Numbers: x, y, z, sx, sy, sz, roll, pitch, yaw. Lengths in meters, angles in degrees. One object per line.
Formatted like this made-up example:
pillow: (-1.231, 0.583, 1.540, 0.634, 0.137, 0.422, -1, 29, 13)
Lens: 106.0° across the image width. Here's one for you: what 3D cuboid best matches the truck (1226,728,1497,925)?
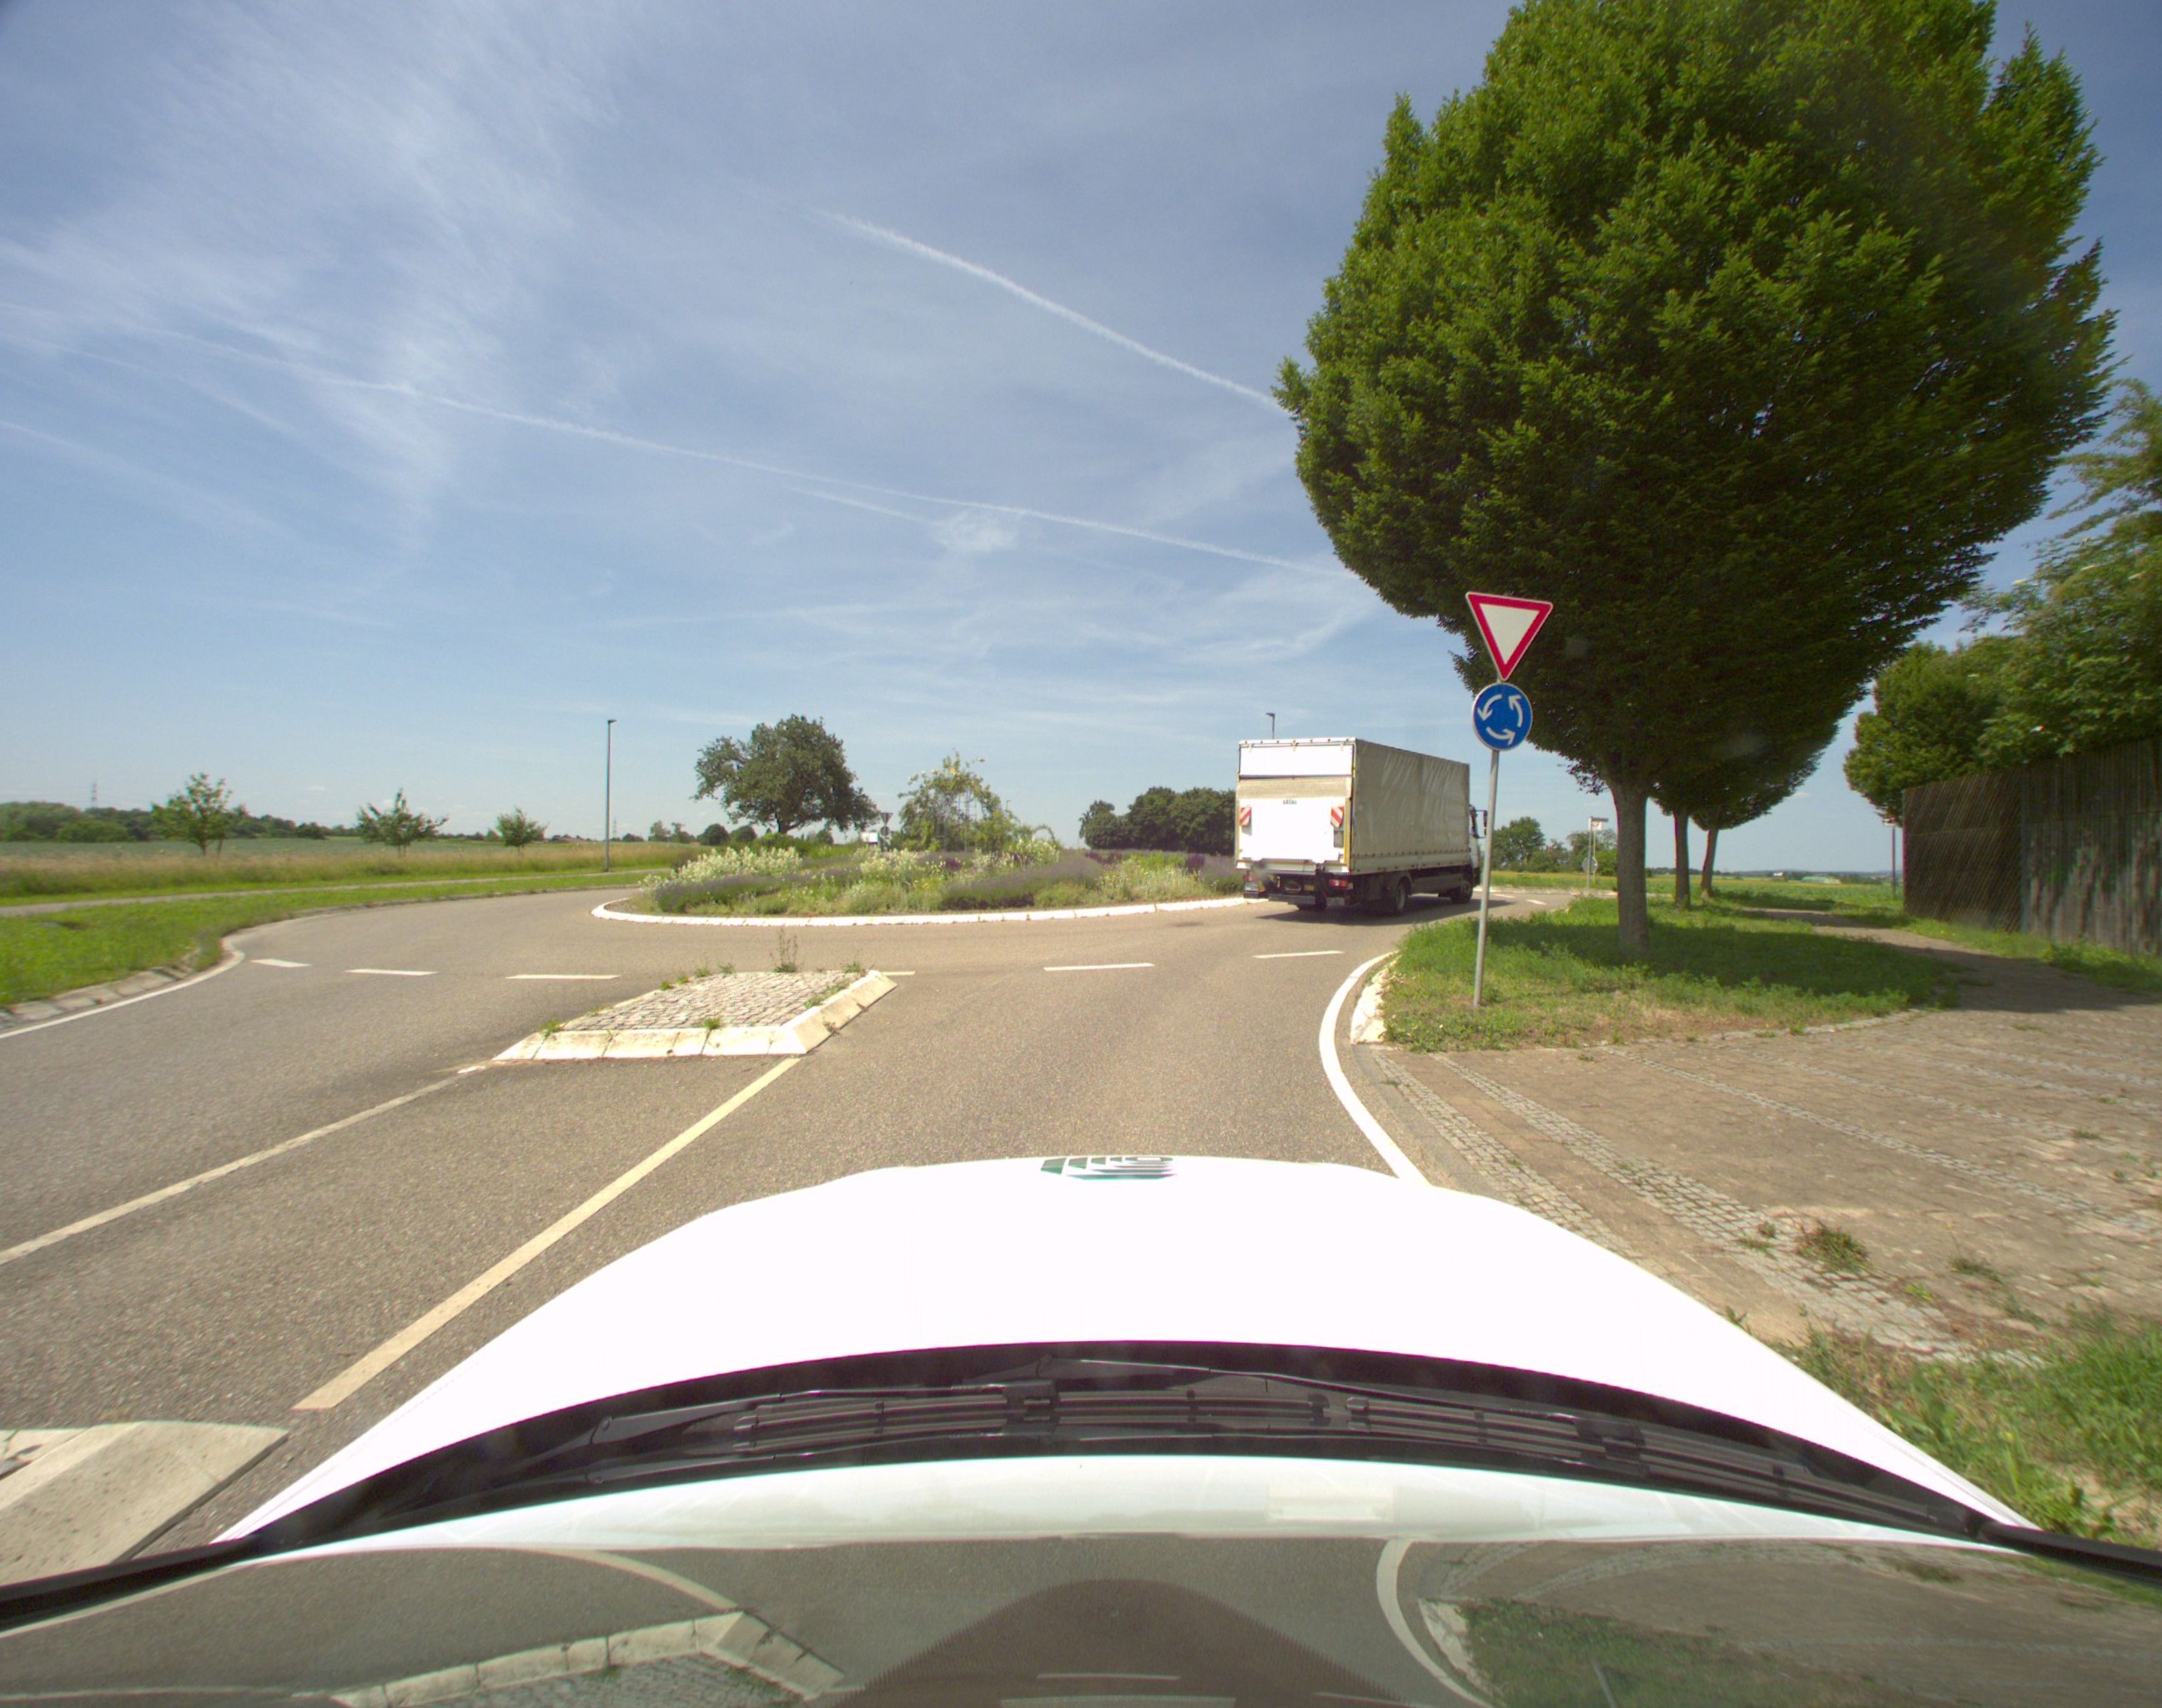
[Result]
truck: (7.166, -0.599, 19.548, 2.741, 3.670, 9.440, 1, 2, 42)
